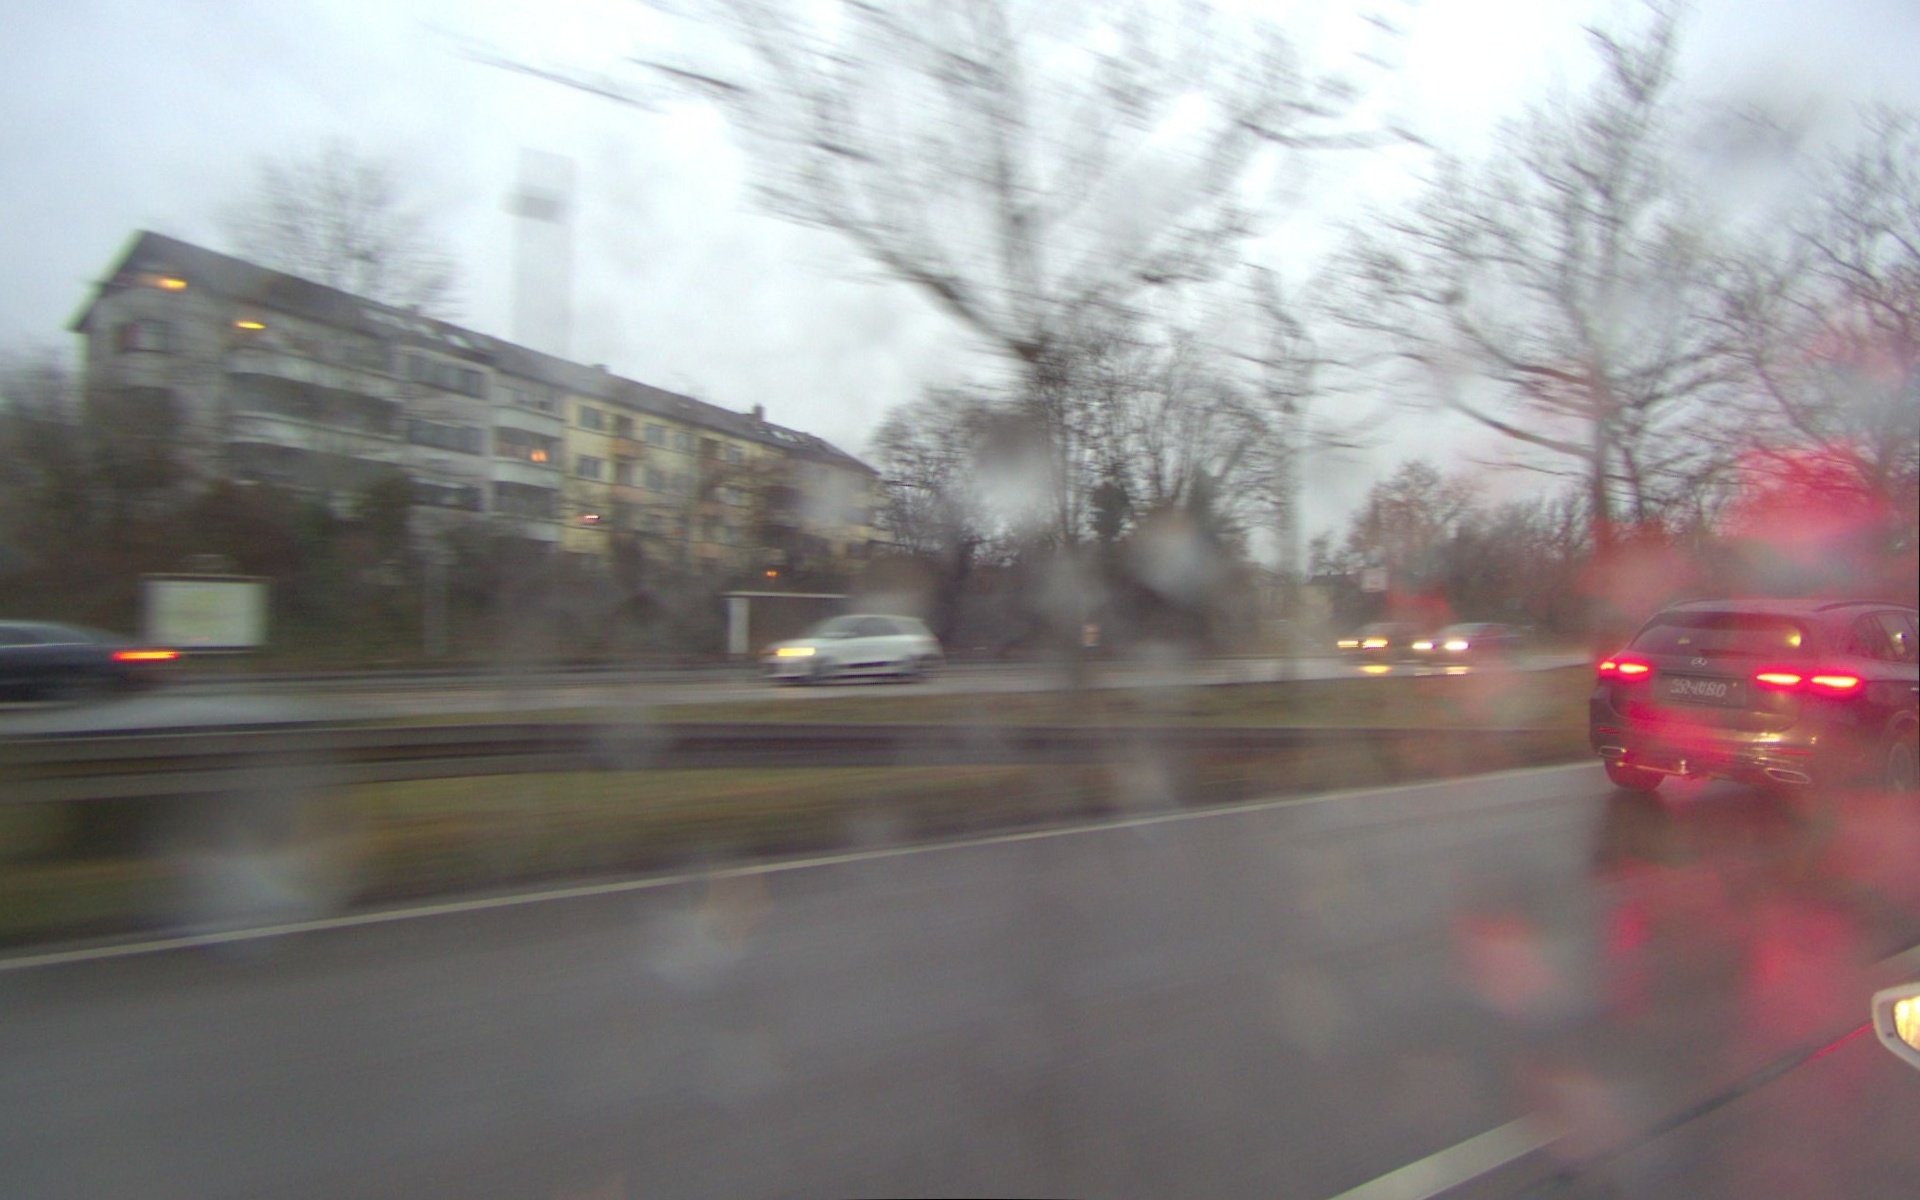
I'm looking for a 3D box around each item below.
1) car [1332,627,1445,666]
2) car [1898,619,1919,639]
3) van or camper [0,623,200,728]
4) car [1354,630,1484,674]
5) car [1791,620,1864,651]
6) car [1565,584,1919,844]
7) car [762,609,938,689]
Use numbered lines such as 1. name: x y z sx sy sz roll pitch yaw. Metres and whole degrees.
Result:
1. car: 16.088 1.719 37.656 4.266 1.325 1.743 1 -1 -31
2. car: 61.487 1.874 63.604 3.953 1.207 1.984 2 0 -30
3. van or camper: -14.720 1.094 15.032 5.099 1.466 1.894 2 -1 -31
4. car: 14.915 1.659 32.554 4.266 1.325 1.743 1 -1 -31
5. car: 41.898 1.704 48.476 3.957 1.357 1.628 1 0 -33
6. car: 7.154 0.799 8.392 4.417 1.669 1.812 2 -1 -32
7. car: -2.473 1.061 22.662 3.535 1.648 1.775 1 0 -32
